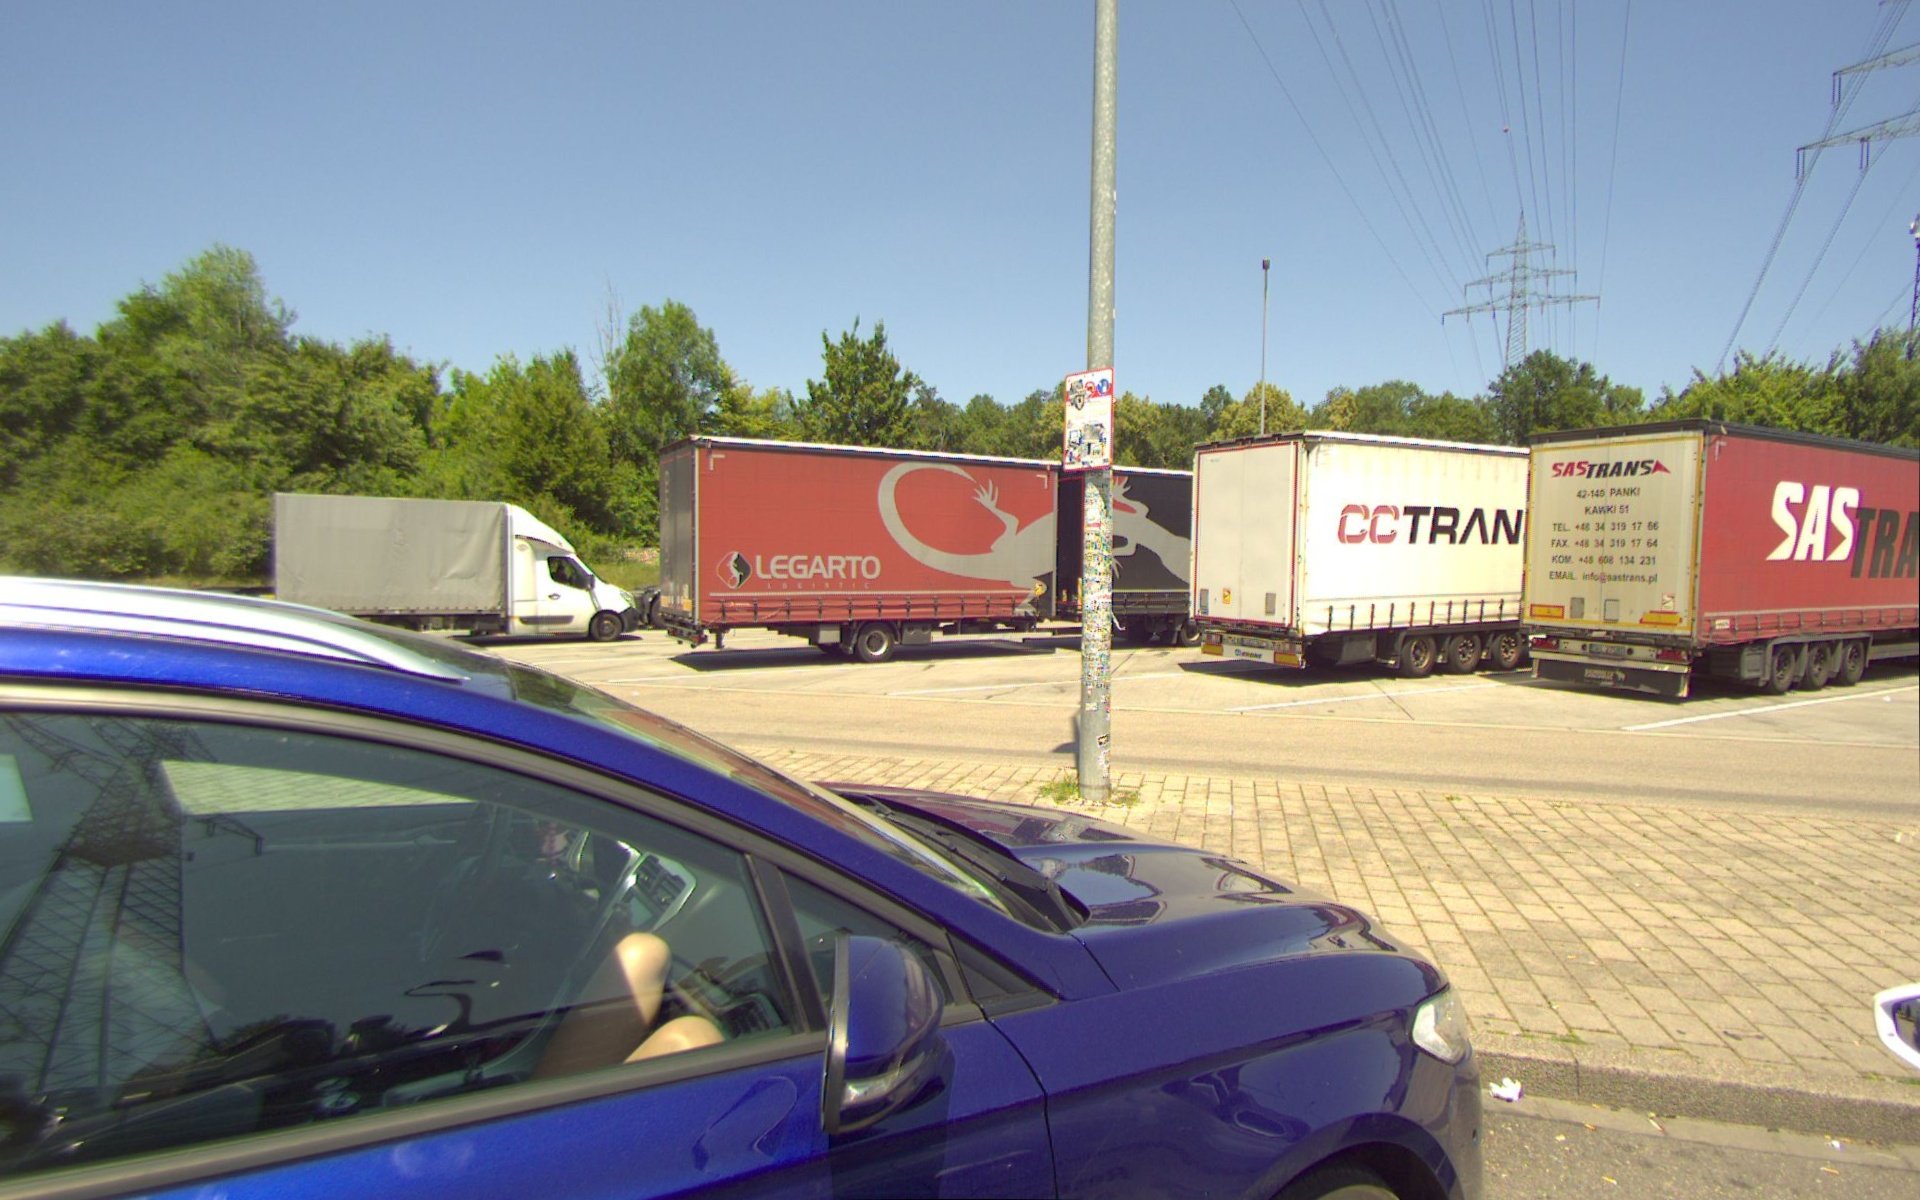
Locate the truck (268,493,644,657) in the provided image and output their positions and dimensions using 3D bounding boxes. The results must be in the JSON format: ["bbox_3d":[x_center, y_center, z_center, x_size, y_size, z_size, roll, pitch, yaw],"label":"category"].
[{"bbox_3d":[-11.208,-0.599,22.913,7.254,3.254,2.515,-1,3,-30],"label":"truck"}]

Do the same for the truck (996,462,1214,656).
[{"bbox_3d":[3.351,-0.931,23.369,4.273,4.072,2.689,-1,3,-30],"label":"truck"}]

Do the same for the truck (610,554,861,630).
[{"bbox_3d":[-6.487,-0.198,29.536,6.961,2.040,1.984,0,0,-30],"label":"truck"}]

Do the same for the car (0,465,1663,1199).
[{"bbox_3d":[-0.988,0.655,1.481,4.592,1.502,1.727,0,0,-33],"label":"car"}]

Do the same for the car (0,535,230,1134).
[{"bbox_3d":[-4.561,0.582,2.266,4.592,1.554,1.726,0,1,-33],"label":"car"}]

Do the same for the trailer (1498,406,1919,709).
[{"bbox_3d":[15.399,-0.723,18.570,13.559,4.189,2.892,-1,3,-30],"label":"trailer"}]

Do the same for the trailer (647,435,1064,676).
[{"bbox_3d":[-1.932,-0.853,20.276,7.996,4.101,2.696,-1,3,-30],"label":"trailer"}]

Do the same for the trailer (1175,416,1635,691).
[{"bbox_3d":[8.861,-0.842,19.335,10.048,4.268,2.714,-1,3,-30],"label":"trailer"}]

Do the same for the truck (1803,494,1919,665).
[{"bbox_3d":[21.722,-0.457,22.314,5.418,3.475,2.838,-1,3,-30],"label":"truck"}]

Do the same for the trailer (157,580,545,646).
[{"bbox_3d":[-14.836,0.230,25.198,7.996,1.394,2.211,-1,3,-30],"label":"trailer"}]
